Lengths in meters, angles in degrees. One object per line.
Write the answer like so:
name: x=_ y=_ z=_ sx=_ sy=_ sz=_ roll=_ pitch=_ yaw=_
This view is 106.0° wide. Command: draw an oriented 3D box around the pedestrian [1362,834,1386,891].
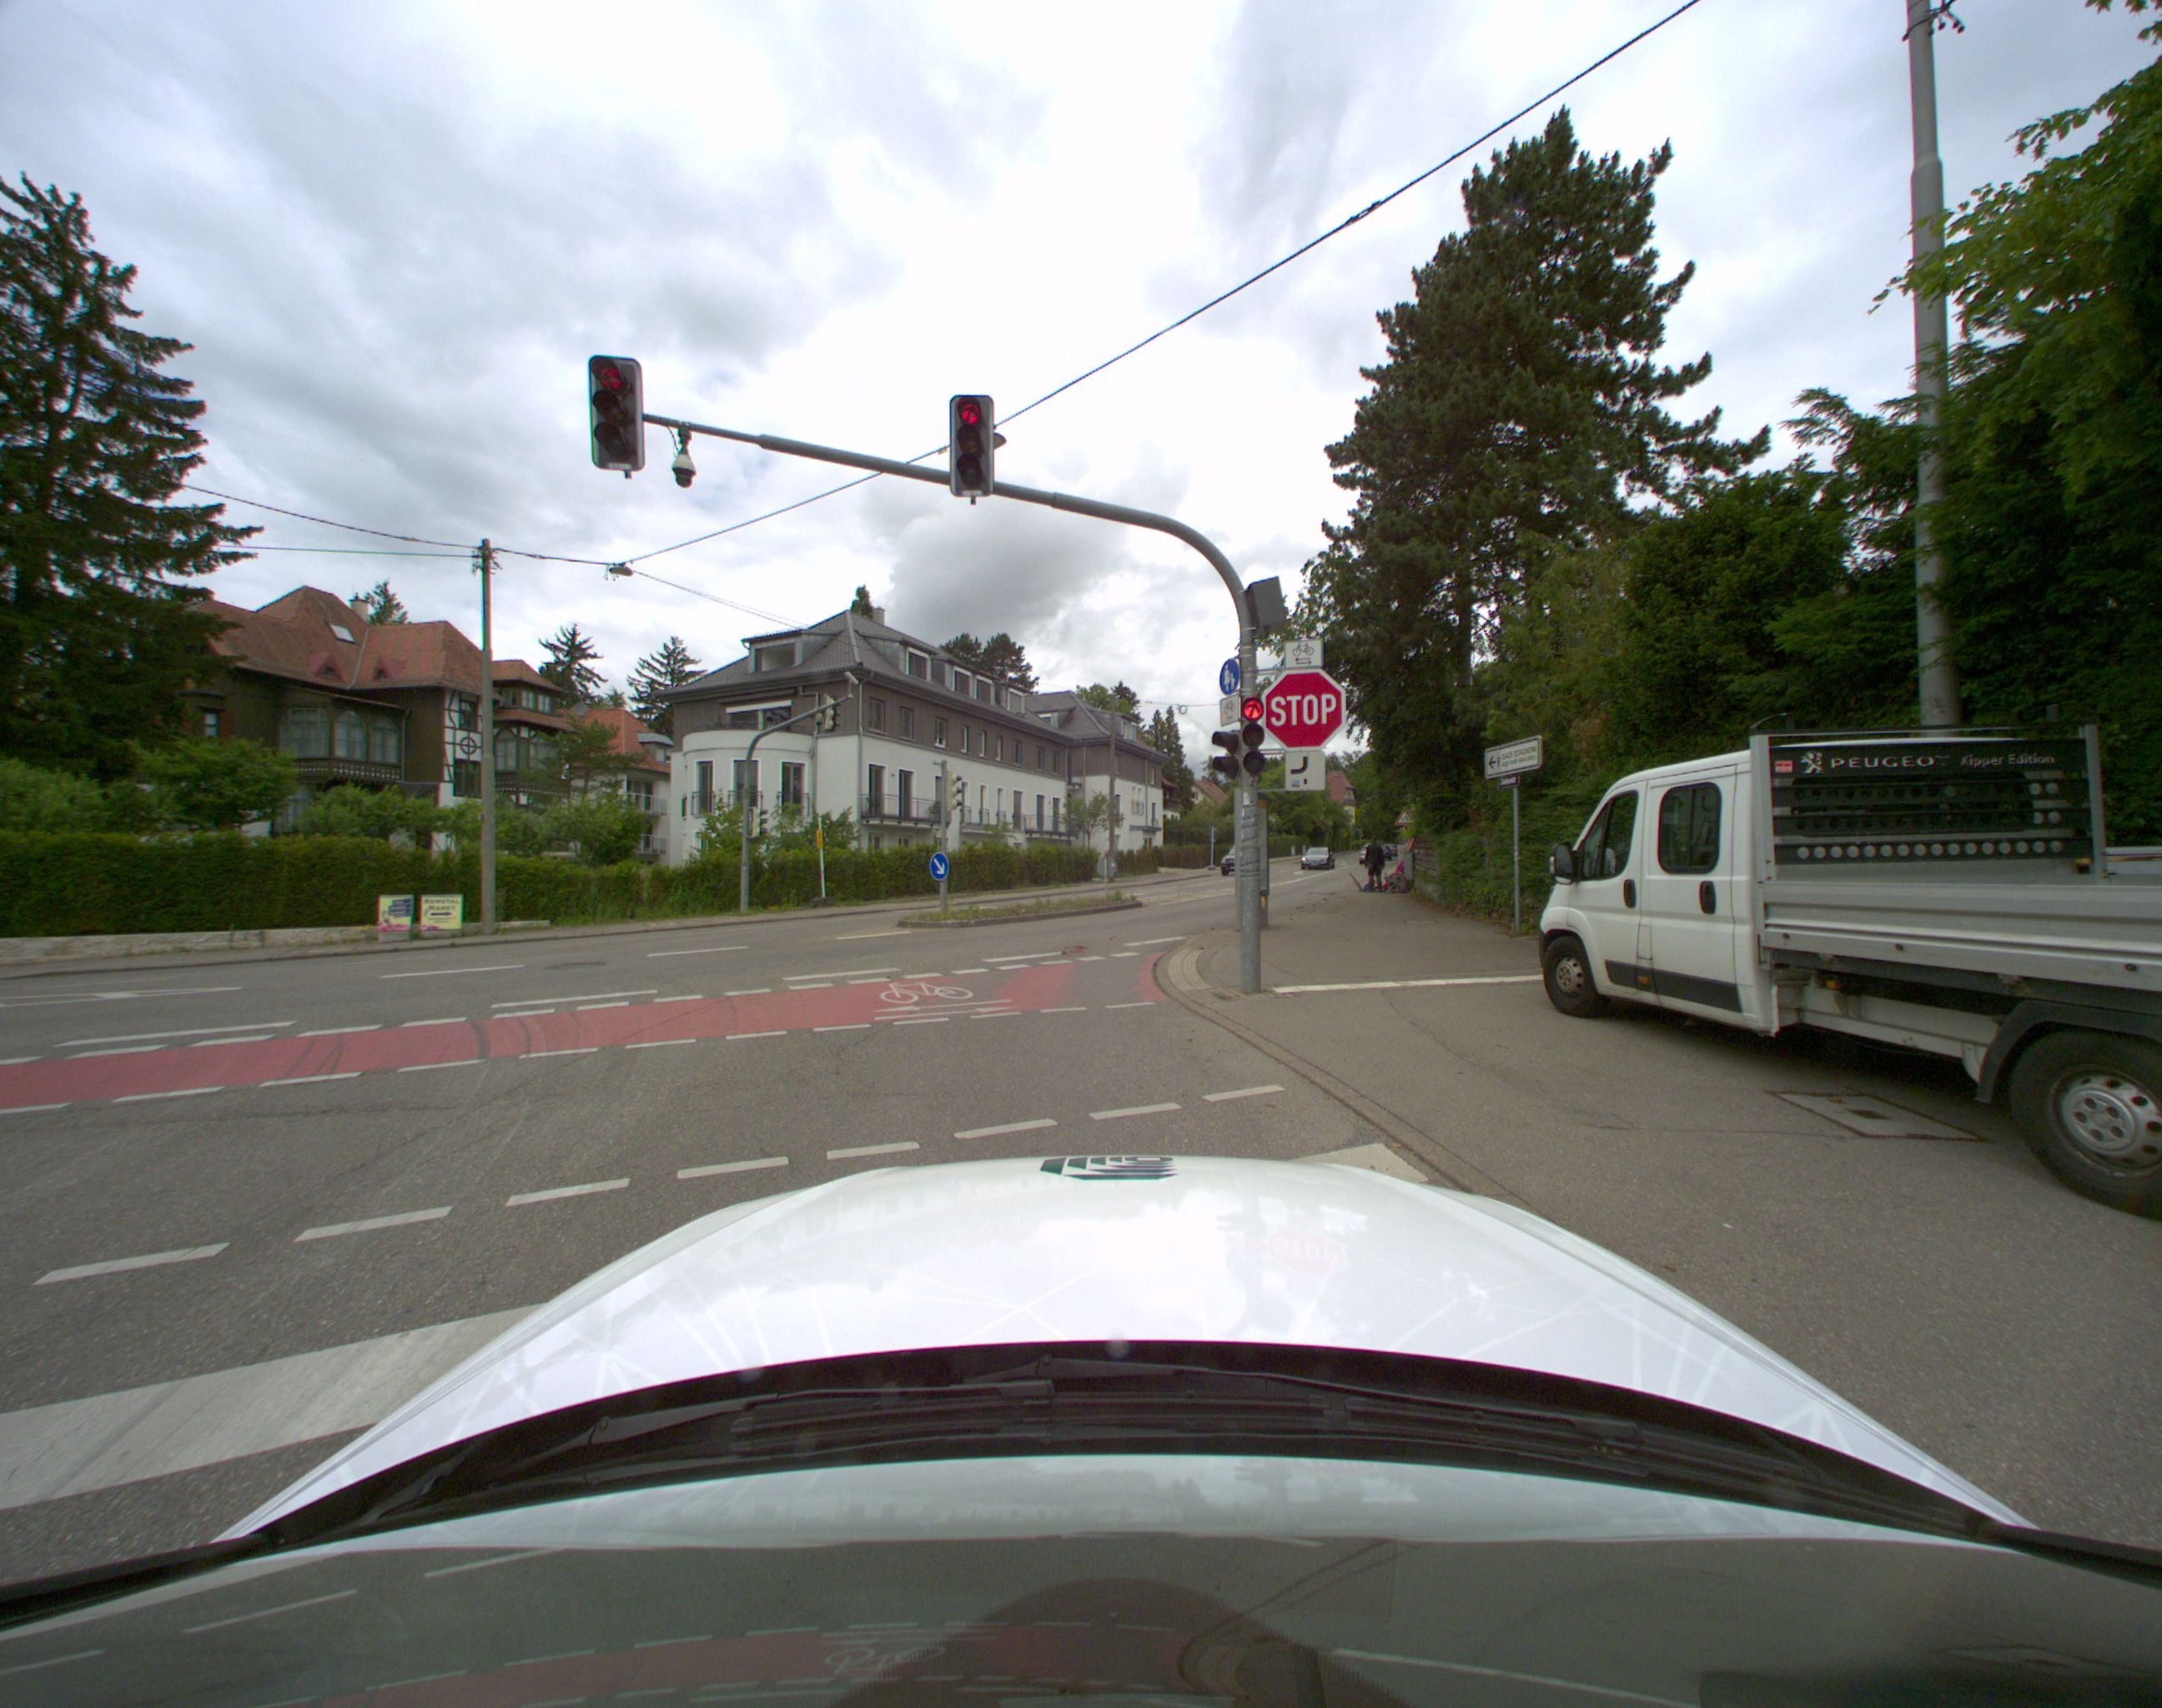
pedestrian: x=9.833 y=0.285 z=27.341 sx=0.594 sy=1.907 sz=0.559 roll=0 pitch=-1 yaw=2

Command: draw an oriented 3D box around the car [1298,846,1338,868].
car: x=16.239 y=0.210 z=55.661 sx=1.921 sy=1.403 sz=4.770 roll=-1 pitch=0 yaw=25

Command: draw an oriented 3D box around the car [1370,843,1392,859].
car: x=30.473 y=-0.319 z=82.623 sx=1.783 sy=1.527 sz=4.770 roll=-2 pitch=0 yaw=24

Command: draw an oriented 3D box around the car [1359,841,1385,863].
car: x=24.888 y=-0.201 z=69.580 sx=1.791 sy=1.753 sz=4.511 roll=-2 pitch=0 yaw=22

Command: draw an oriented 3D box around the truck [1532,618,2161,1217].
truck: x=5.276 y=0.236 z=4.955 sx=2.198 sy=2.243 sz=5.729 roll=0 pitch=0 yaw=4

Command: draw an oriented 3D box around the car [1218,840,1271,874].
car: x=9.972 y=0.187 z=49.326 sx=1.895 sy=1.881 sz=5.171 roll=-2 pitch=-1 yaw=25

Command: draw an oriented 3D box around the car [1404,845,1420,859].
car: x=46.493 y=-0.339 z=114.377 sx=1.902 sy=1.894 sz=4.935 roll=1 pitch=1 yaw=23
